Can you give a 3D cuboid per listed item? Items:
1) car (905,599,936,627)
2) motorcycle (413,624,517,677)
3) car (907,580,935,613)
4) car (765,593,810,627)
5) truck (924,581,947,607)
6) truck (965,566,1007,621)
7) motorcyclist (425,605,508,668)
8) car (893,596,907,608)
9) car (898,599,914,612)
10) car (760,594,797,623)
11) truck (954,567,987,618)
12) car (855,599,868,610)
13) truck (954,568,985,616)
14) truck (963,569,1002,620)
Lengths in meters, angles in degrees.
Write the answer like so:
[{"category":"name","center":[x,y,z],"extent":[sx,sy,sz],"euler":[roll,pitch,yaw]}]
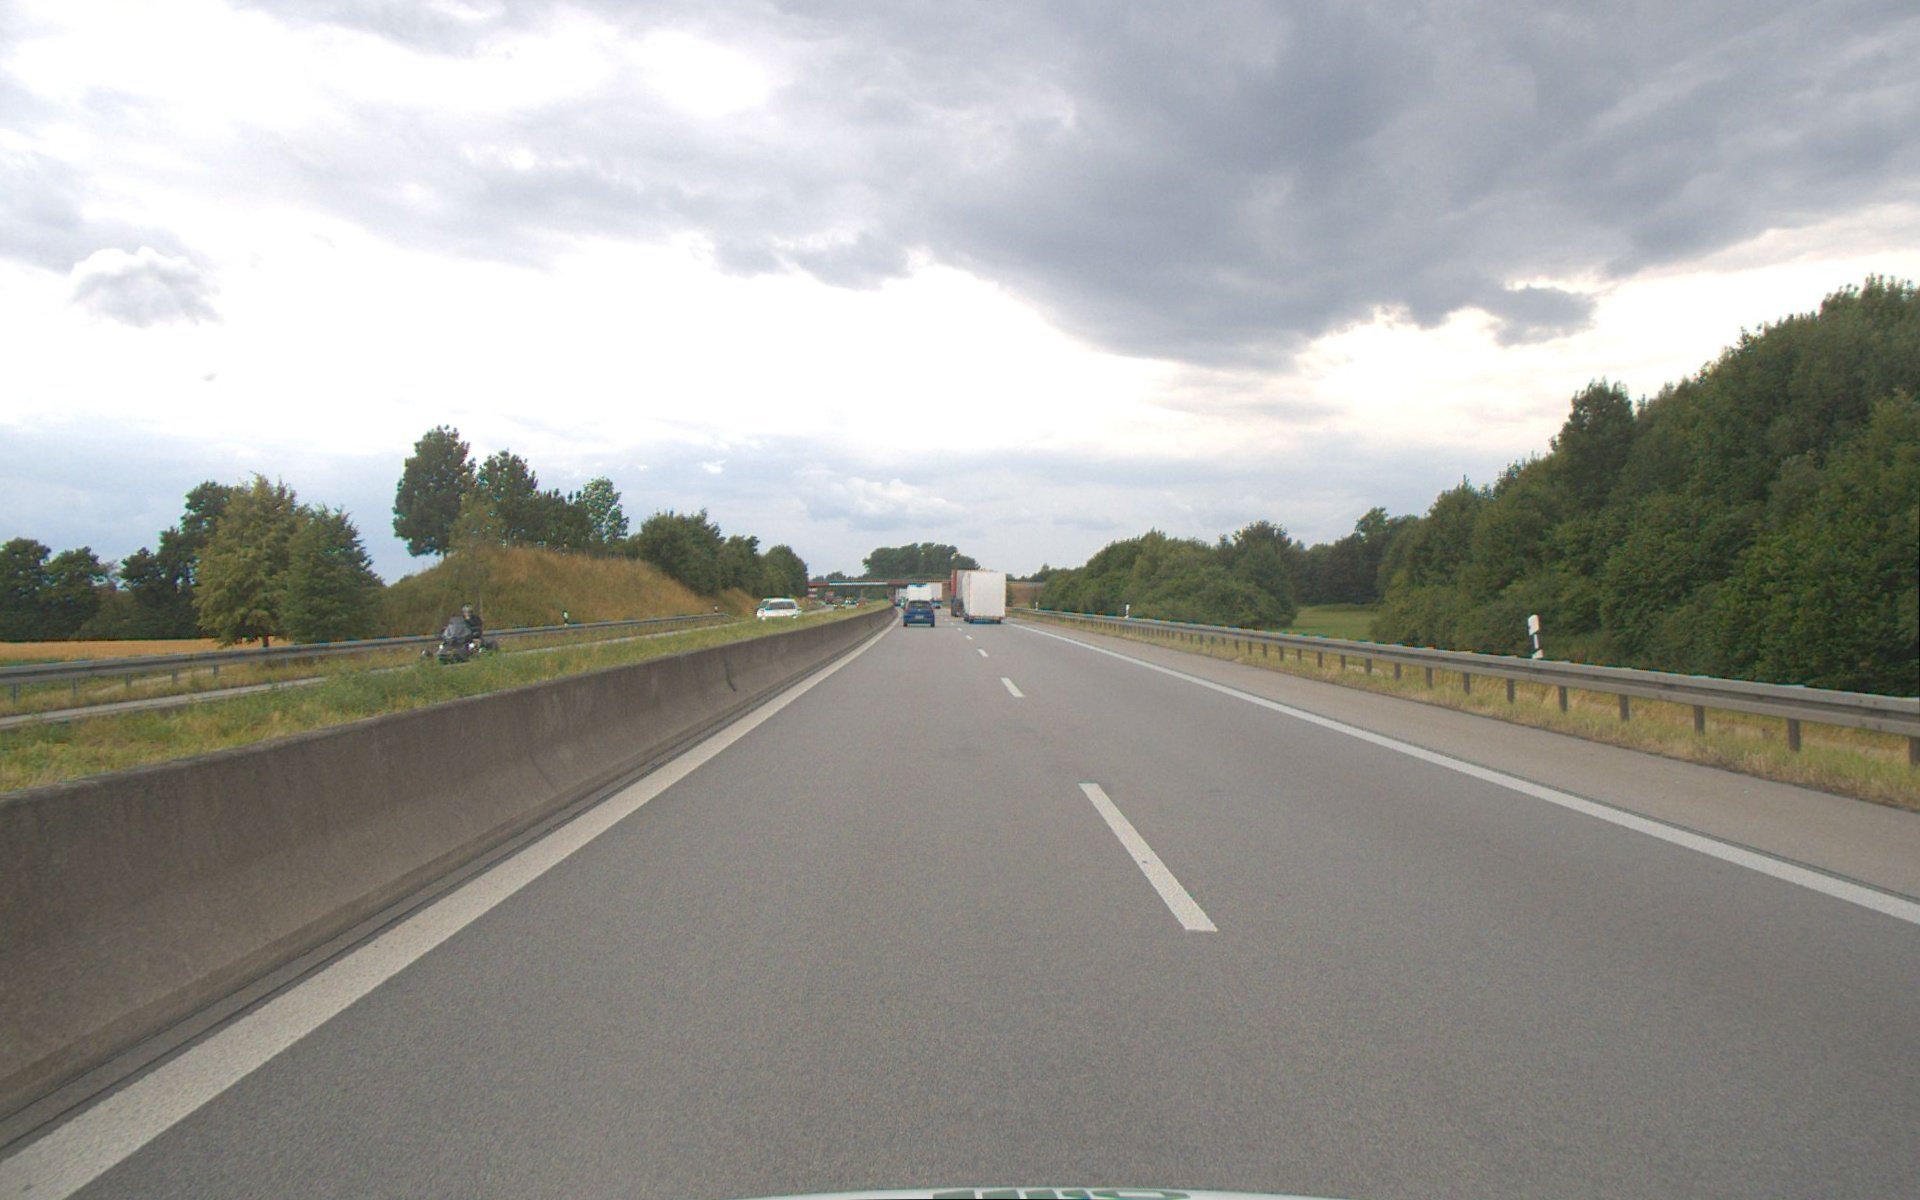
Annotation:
[{"category":"car","center":[-2.131,0.689,89.246],"extent":[1.630,1.432,3.647],"euler":[0,0,-2]},{"category":"motorcycle","center":[-11.418,1.145,38.319],"extent":[1.535,1.097,2.981],"euler":[-2,0,-1]},{"category":"car","center":[-3.052,-0.248,128.254],"extent":[2.087,2.526,5.837],"euler":[0,0,-2]},{"category":"car","center":[-8.509,0.480,81.842],"extent":[1.828,1.602,4.988],"euler":[-2,0,-2]},{"category":"truck","center":[-3.790,-0.929,252.431],"extent":[3.049,3.754,9.317],"euler":[-2,0,-3]},{"category":"truck","center":[1.589,-0.384,103.266],"extent":[2.366,3.278,7.142],"euler":[0,0,-1]},{"category":"motorcyclist","center":[-11.426,0.839,38.342],"extent":[1.535,1.395,1.252],"euler":[-2,0,-1]},{"category":"car","center":[-8.828,0.309,242.792],"extent":[1.954,1.713,3.996],"euler":[0,0,-5]},{"category":"car","center":[-6.905,0.743,211.684],"extent":[1.896,1.672,4.901],"euler":[0,0,-1]},{"category":"car","center":[-10.650,0.503,97.251],"extent":[1.828,1.602,4.692],"euler":[-2,0,-2]},{"category":"truck","center":[0.855,-0.645,140.413],"extent":[2.619,4.116,11.106],"euler":[-1,0,-1]},{"category":"car","center":[-14.913,0.659,249.991],"extent":[1.808,1.599,4.359],"euler":[-2,0,-2]},{"category":"truck","center":[0.786,-0.680,145.816],"extent":[2.619,4.116,5.511],"euler":[-1,0,-1]},{"category":"truck","center":[1.460,-0.362,110.454],"extent":[2.380,3.300,7.245],"euler":[0,0,-1]}]
